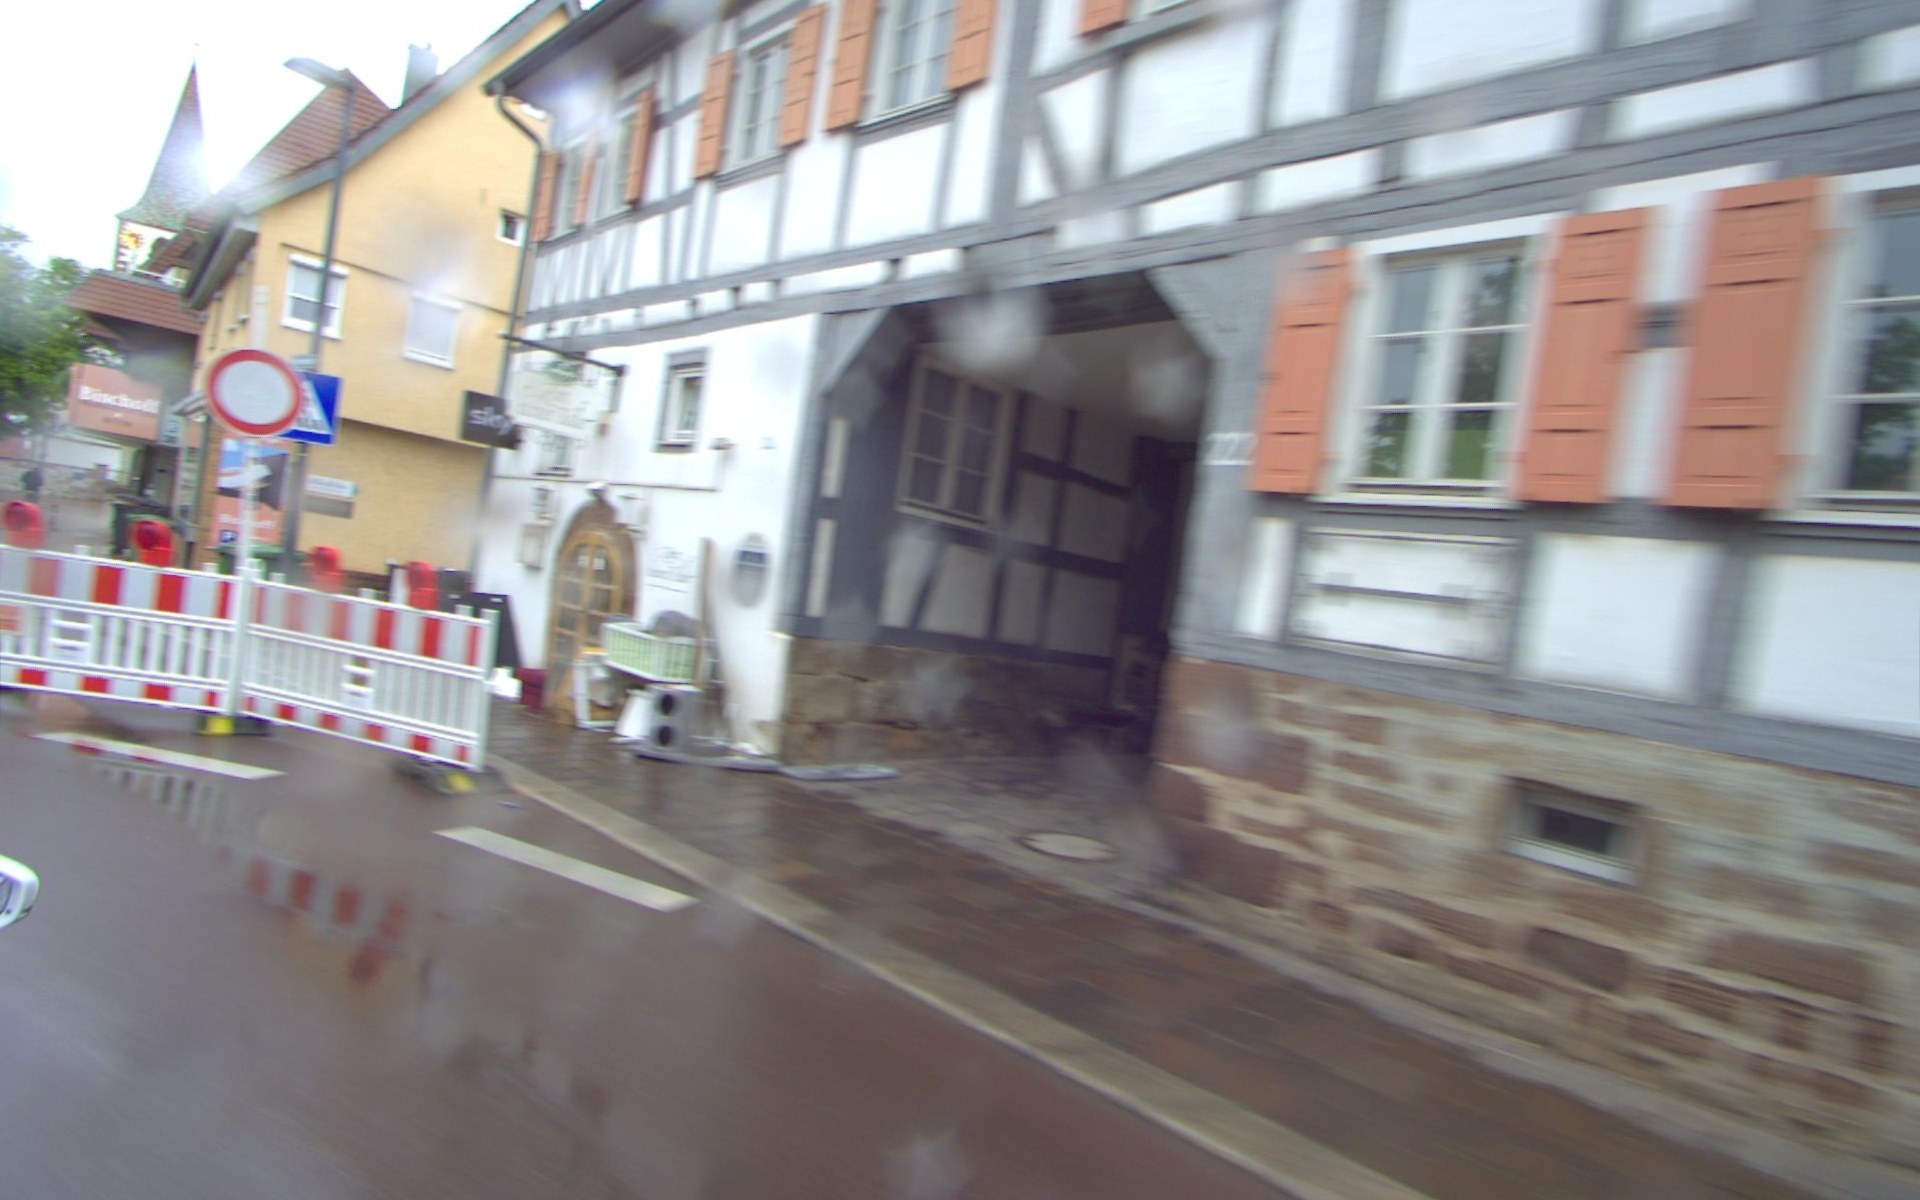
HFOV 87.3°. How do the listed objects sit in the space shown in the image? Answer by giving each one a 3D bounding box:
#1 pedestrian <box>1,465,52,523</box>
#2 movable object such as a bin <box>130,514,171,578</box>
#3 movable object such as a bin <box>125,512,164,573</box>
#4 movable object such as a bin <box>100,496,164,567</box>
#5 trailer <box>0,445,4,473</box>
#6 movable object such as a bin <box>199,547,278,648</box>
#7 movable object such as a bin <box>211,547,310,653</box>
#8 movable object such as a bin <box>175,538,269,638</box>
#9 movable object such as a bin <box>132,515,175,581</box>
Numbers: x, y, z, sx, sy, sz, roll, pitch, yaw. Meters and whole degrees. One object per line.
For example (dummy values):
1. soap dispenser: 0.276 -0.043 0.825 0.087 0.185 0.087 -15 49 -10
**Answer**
1. pedestrian: -32.009 -3.639 34.504 0.838 1.779 0.991 7 -1 36
2. movable object such as a bin: -15.447 -1.032 19.193 0.514 1.144 0.572 3 5 -44
3. movable object such as a bin: -16.288 -1.148 20.084 0.514 1.144 0.572 3 4 -44
4. movable object such as a bin: -19.518 -1.621 23.725 1.060 1.533 1.228 4 3 -40
5. trailer: -43.791 -5.566 41.537 1.970 2.981 5.785 7 -2 37
6. movable object such as a bin: -8.264 -0.026 11.539 0.611 1.079 0.535 6 0 -31
7. movable object such as a bin: -7.693 0.008 11.071 0.531 1.079 0.678 7 1 36
8. movable object such as a bin: -8.742 -0.133 11.915 0.577 1.079 0.678 8 1 36
9. movable object such as a bin: -15.039 -0.973 18.755 0.515 1.147 0.572 3 4 -44
